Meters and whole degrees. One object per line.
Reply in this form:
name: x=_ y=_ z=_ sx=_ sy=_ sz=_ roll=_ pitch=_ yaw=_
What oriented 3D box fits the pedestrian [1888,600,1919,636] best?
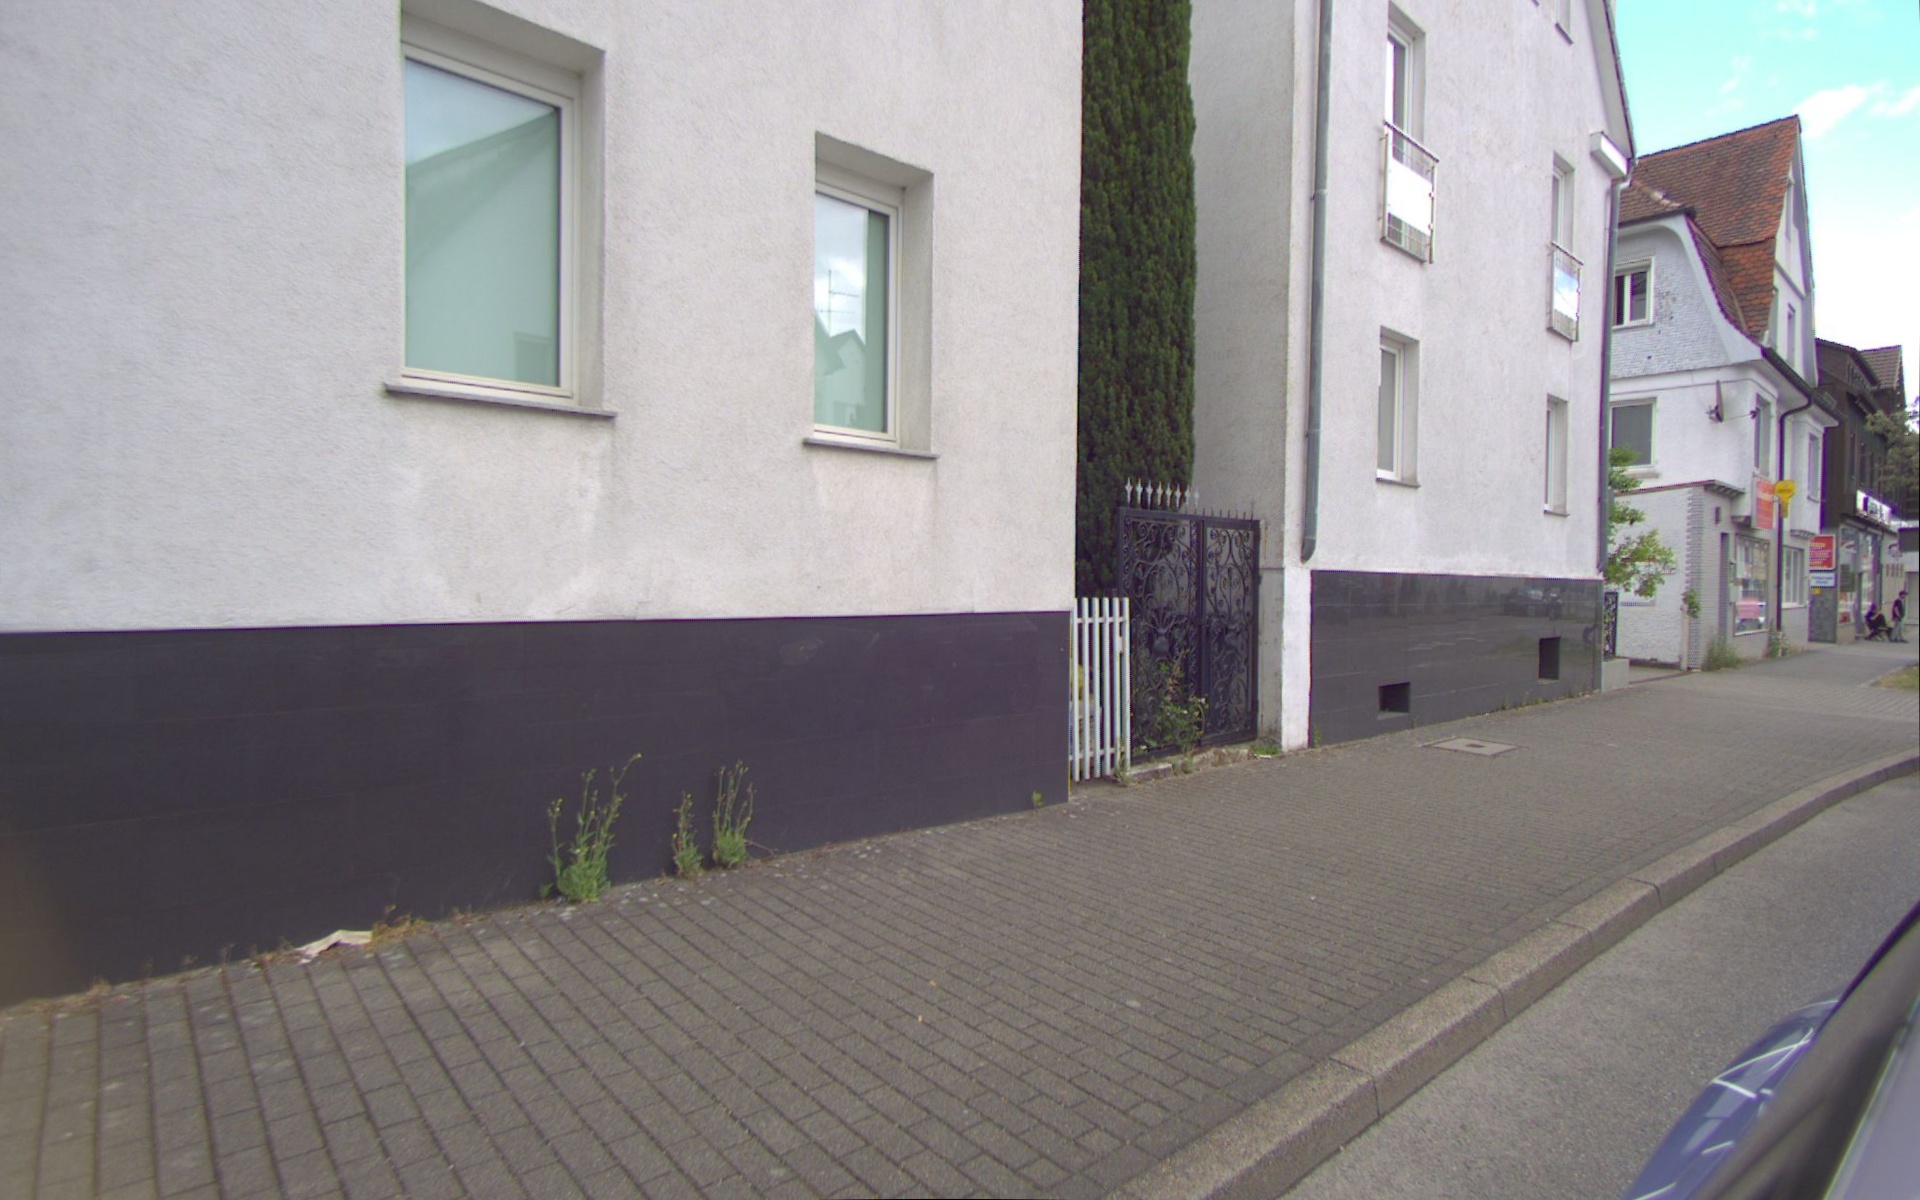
pedestrian: x=32.733 y=0.614 z=35.082 sx=0.633 sy=1.226 sz=0.741 roll=0 pitch=2 yaw=-42

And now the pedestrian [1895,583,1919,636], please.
pedestrian: x=32.294 y=0.323 z=34.422 sx=0.642 sy=1.762 sz=0.731 roll=3 pitch=2 yaw=43
